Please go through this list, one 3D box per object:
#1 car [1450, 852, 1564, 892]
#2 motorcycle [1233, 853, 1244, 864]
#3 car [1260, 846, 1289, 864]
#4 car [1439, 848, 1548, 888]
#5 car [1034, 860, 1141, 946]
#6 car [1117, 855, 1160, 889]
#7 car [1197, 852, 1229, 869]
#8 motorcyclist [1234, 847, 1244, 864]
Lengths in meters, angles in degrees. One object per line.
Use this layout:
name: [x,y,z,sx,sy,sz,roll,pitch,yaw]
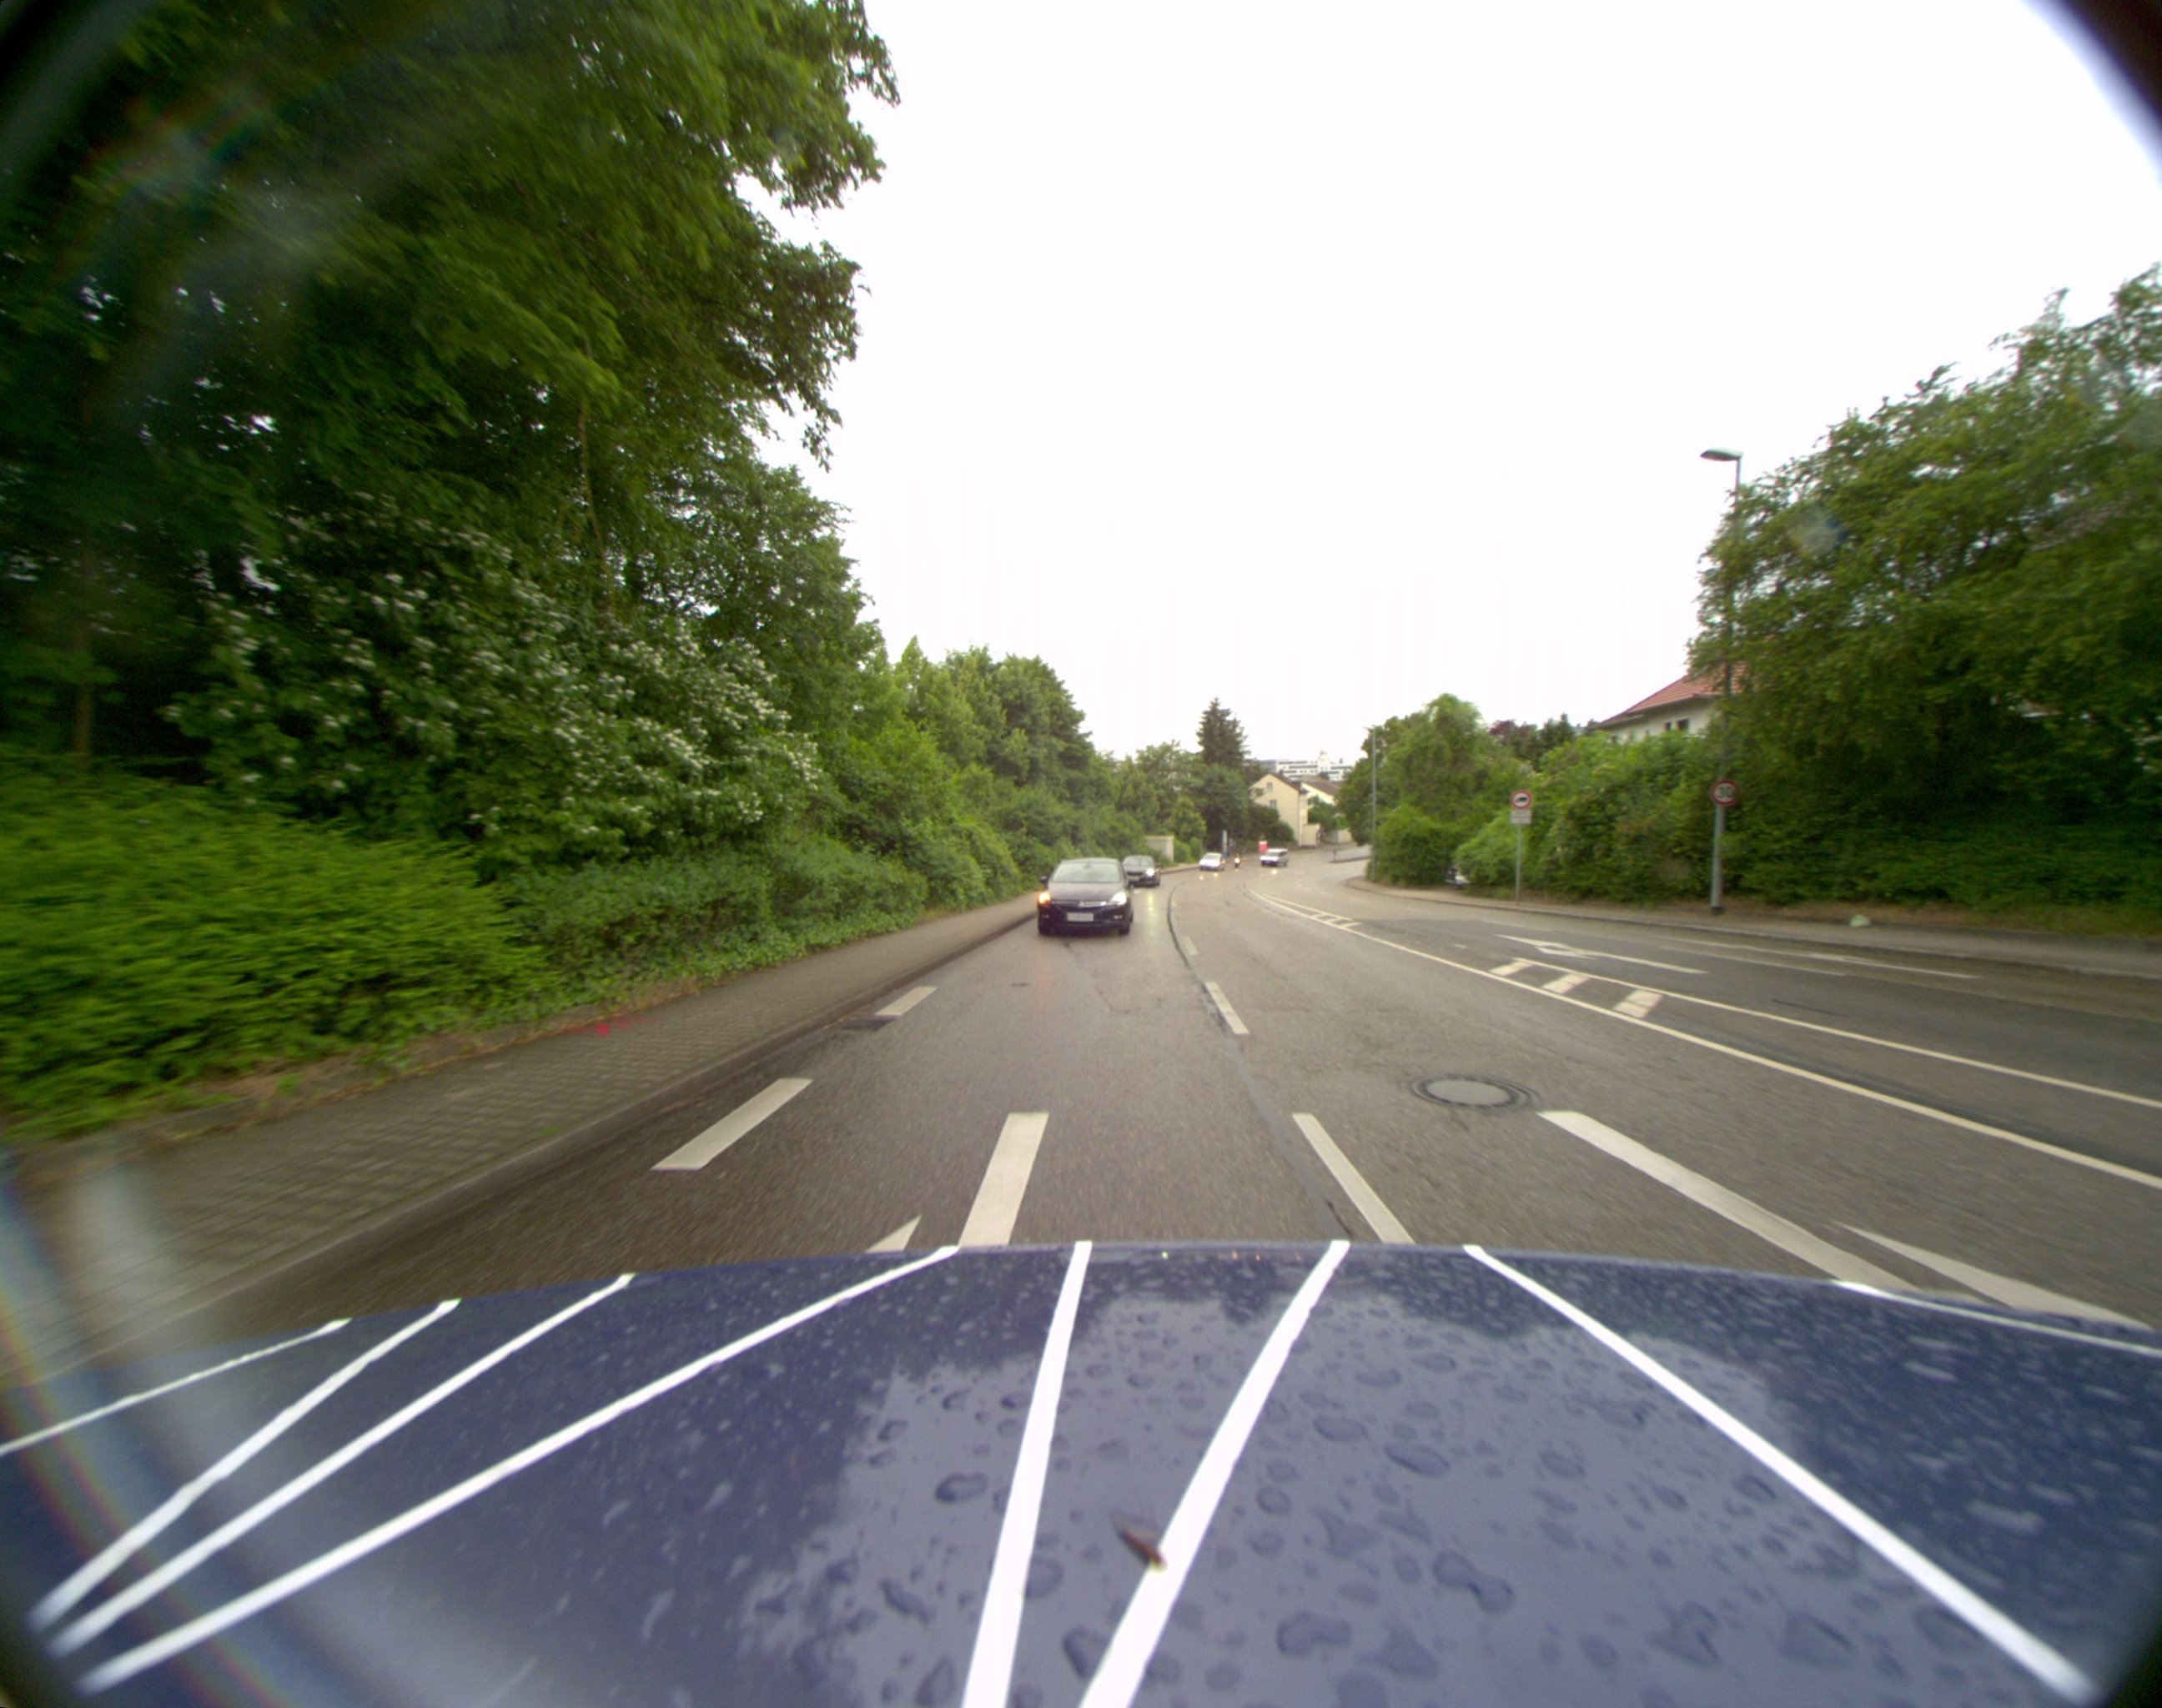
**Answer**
car: [18.493,0.766,33.141,3.908,1.432,1.812,-4,0,9]
motorcycle: [15.607,0.416,75.213,0.691,1.047,1.750,3,2,23]
car: [20.825,0.128,81.665,1.773,1.765,4.008,3,2,33]
car: [19.386,0.643,35.850,3.995,1.527,2.001,-4,0,8]
car: [0.268,0.894,15.787,1.815,1.434,4.164,1,1,6]
car: [2.841,0.812,36.807,1.871,1.497,4.199,0,1,7]
car: [11.816,0.544,67.855,1.814,1.430,4.007,3,1,24]
motorcyclist: [15.663,0.136,75.330,0.765,1.633,0.675,2,2,23]
